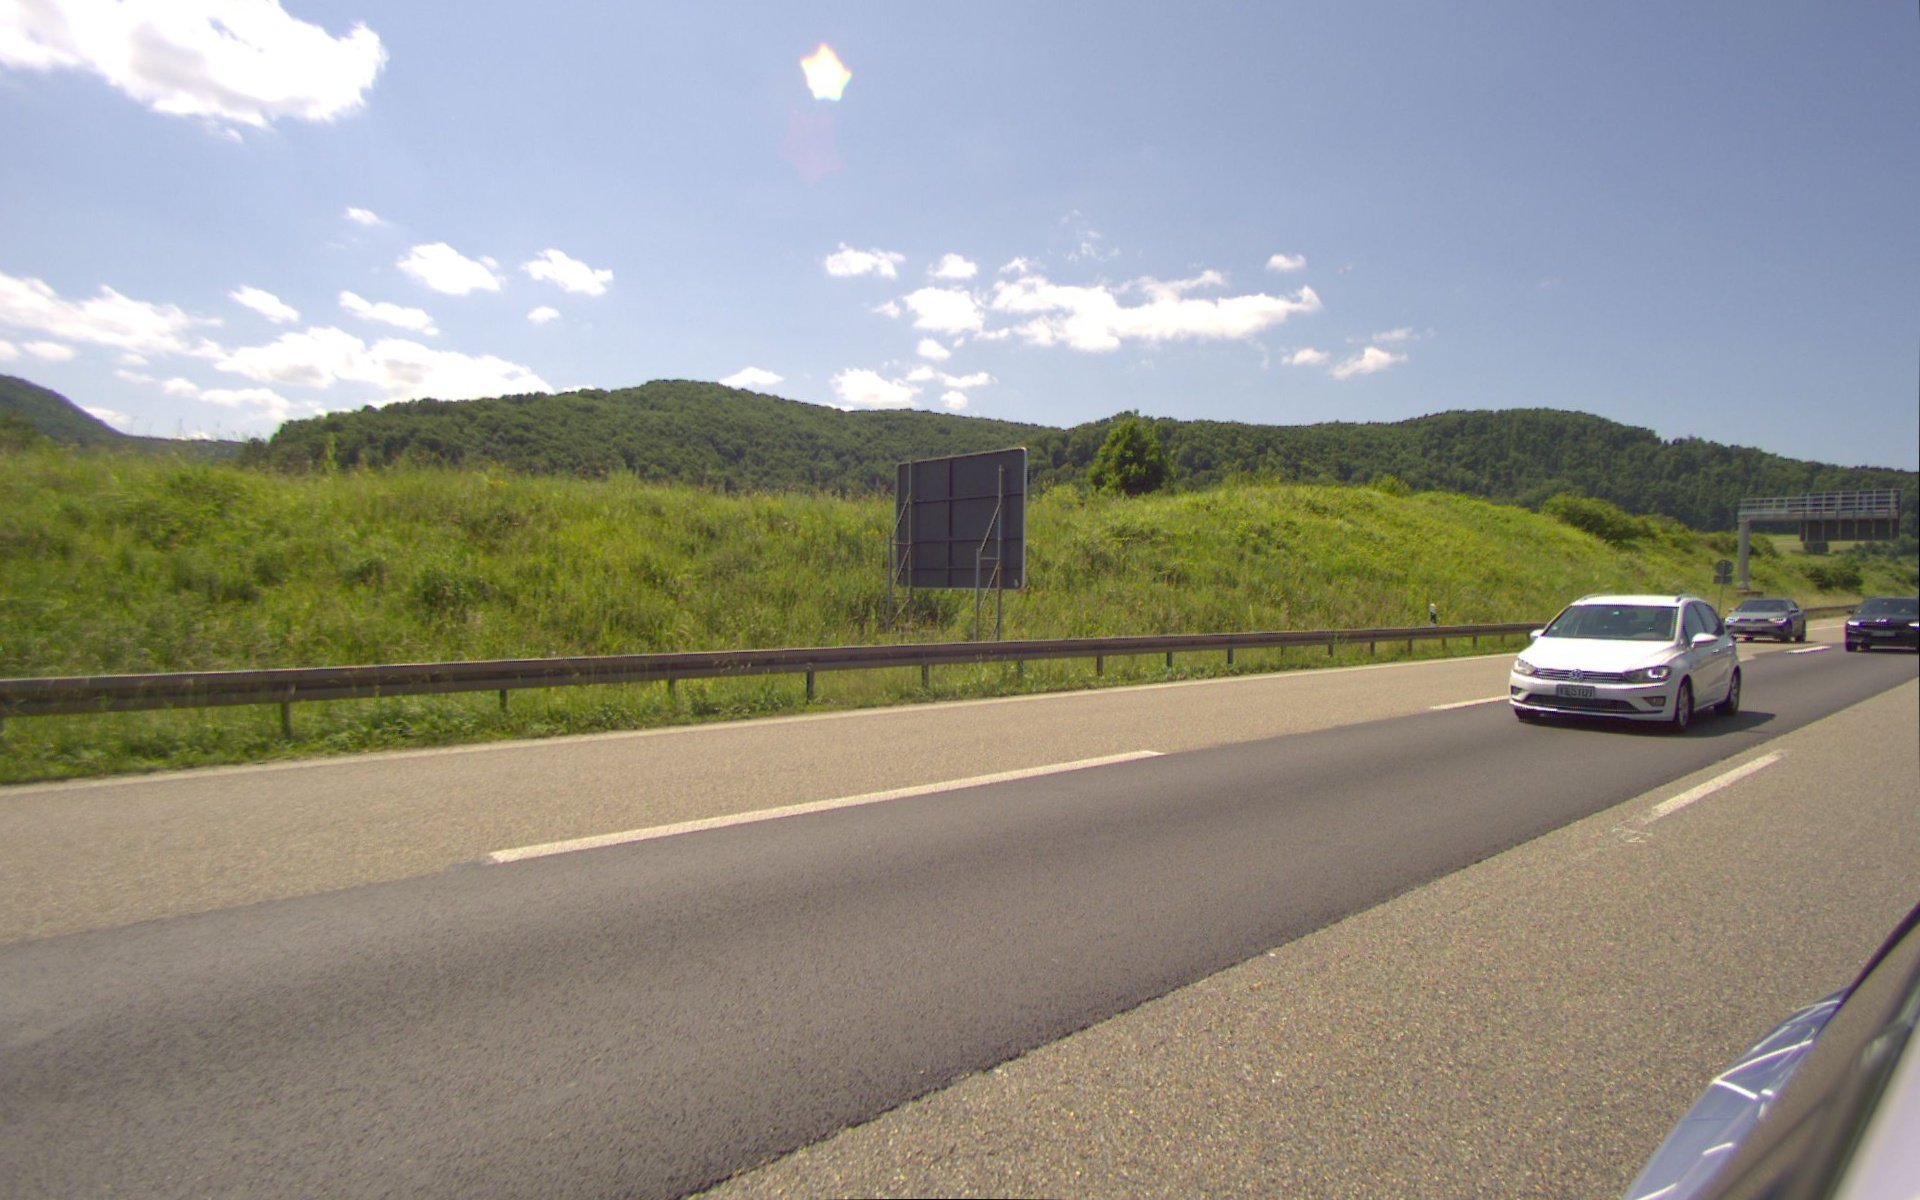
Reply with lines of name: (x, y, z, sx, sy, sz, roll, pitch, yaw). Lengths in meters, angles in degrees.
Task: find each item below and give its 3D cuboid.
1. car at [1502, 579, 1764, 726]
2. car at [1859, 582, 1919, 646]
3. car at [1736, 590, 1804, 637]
car: (8.557, 0.537, 12.741, 3.983, 1.560, 1.775, 0, 0, -41)
car: (28.307, 0.384, 30.146, 4.100, 1.794, 1.891, 0, 1, -43)
car: (29.795, 0.452, 37.182, 1.679, 1.615, 4.183, 0, 0, 43)
